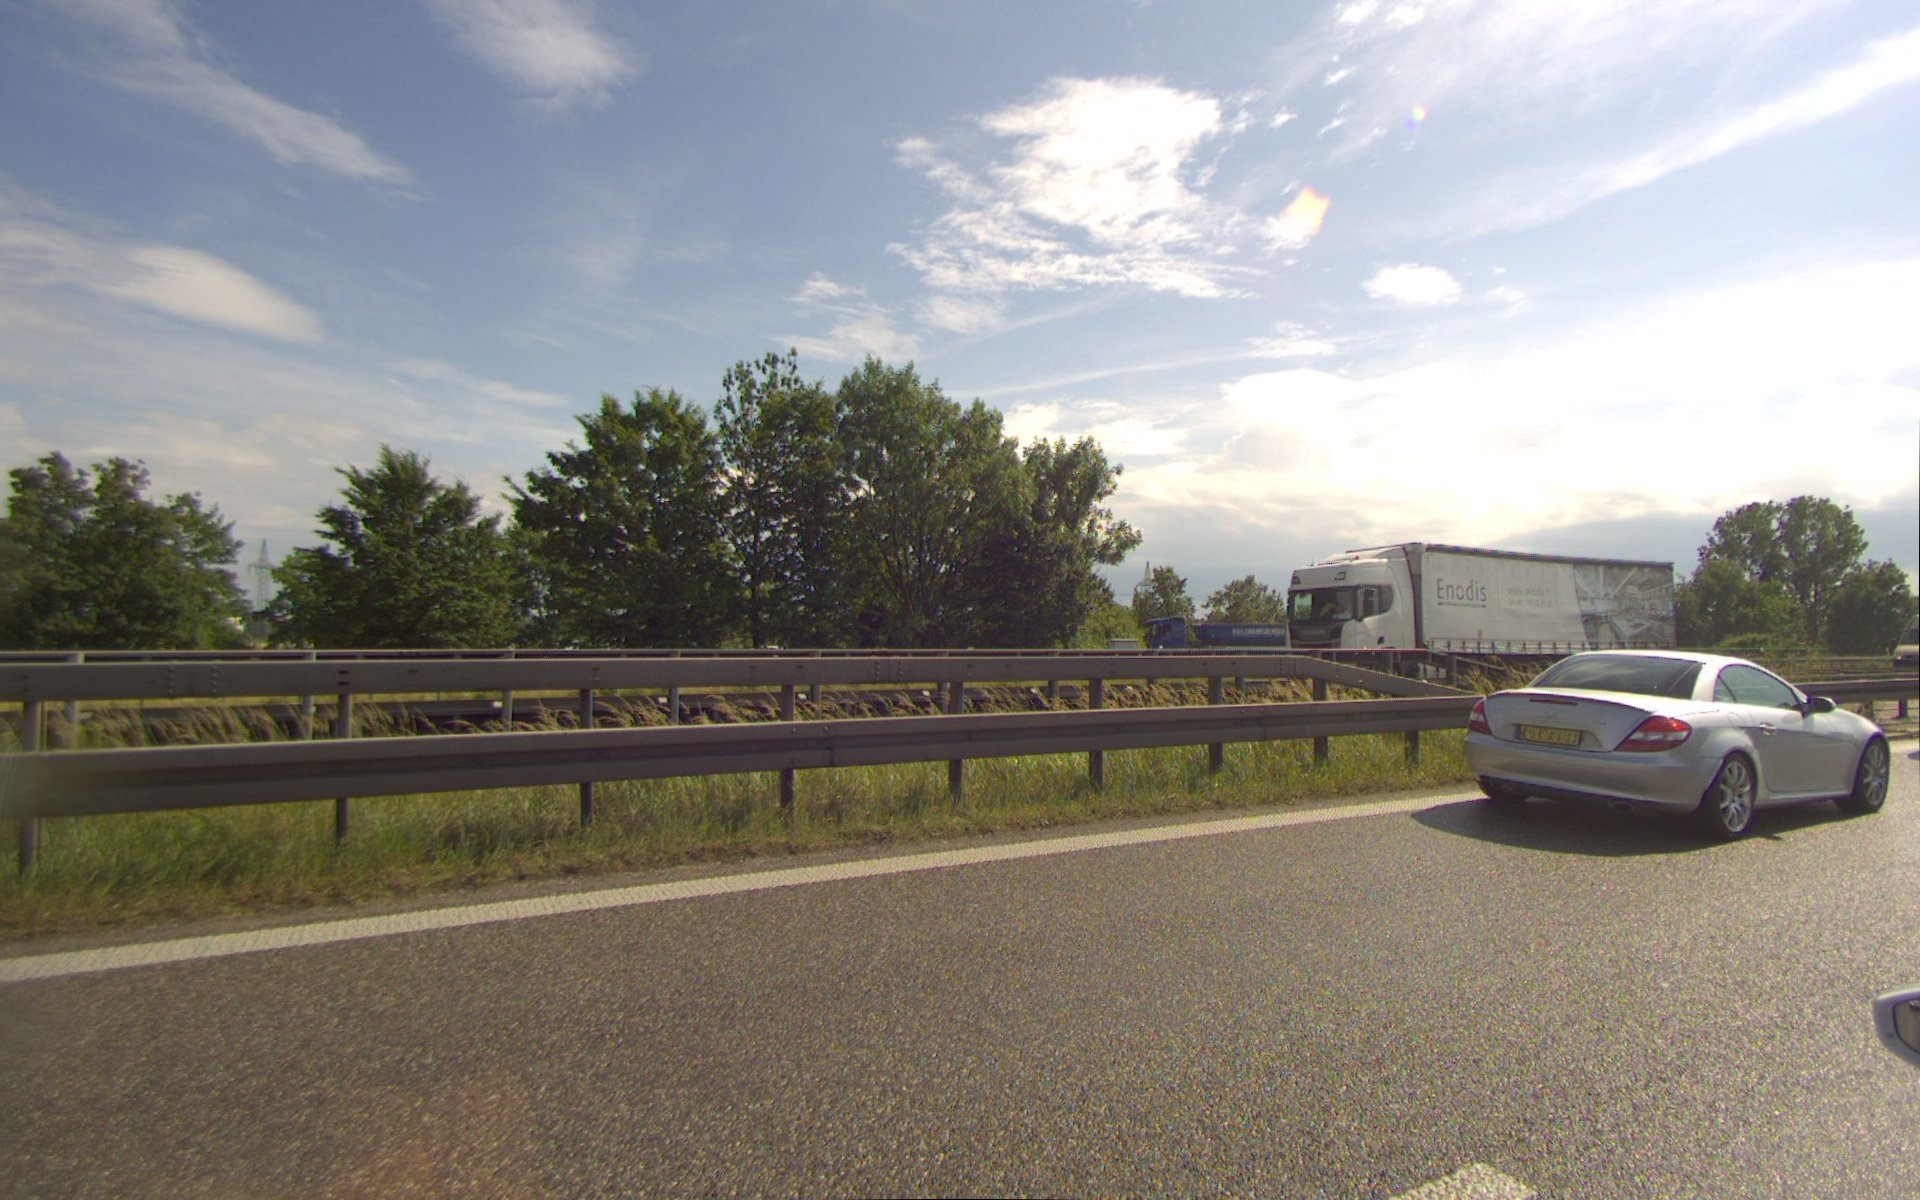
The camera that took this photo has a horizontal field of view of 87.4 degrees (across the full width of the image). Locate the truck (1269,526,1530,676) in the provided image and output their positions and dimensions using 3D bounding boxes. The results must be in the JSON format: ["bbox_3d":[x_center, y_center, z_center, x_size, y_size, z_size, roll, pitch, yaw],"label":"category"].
[{"bbox_3d":[12.915,0.167,29.283,7.784,3.871,2.849,3,-1,-30],"label":"truck"}]

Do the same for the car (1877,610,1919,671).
[{"bbox_3d":[38.844,1.573,39.561,6.896,2.238,1.984,1,0,-30],"label":"car"}]

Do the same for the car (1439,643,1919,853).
[{"bbox_3d":[5.981,1.033,8.246,4.014,1.295,1.717,1,-1,-29],"label":"car"}]

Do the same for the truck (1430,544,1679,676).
[{"bbox_3d":[19.795,0.470,33.237,9.311,3.903,2.835,3,-1,-30],"label":"truck"}]

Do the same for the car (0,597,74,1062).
[{"bbox_3d":[-4.654,0.669,1.923,4.087,1.444,1.759,2,0,-28],"label":"car"}]
